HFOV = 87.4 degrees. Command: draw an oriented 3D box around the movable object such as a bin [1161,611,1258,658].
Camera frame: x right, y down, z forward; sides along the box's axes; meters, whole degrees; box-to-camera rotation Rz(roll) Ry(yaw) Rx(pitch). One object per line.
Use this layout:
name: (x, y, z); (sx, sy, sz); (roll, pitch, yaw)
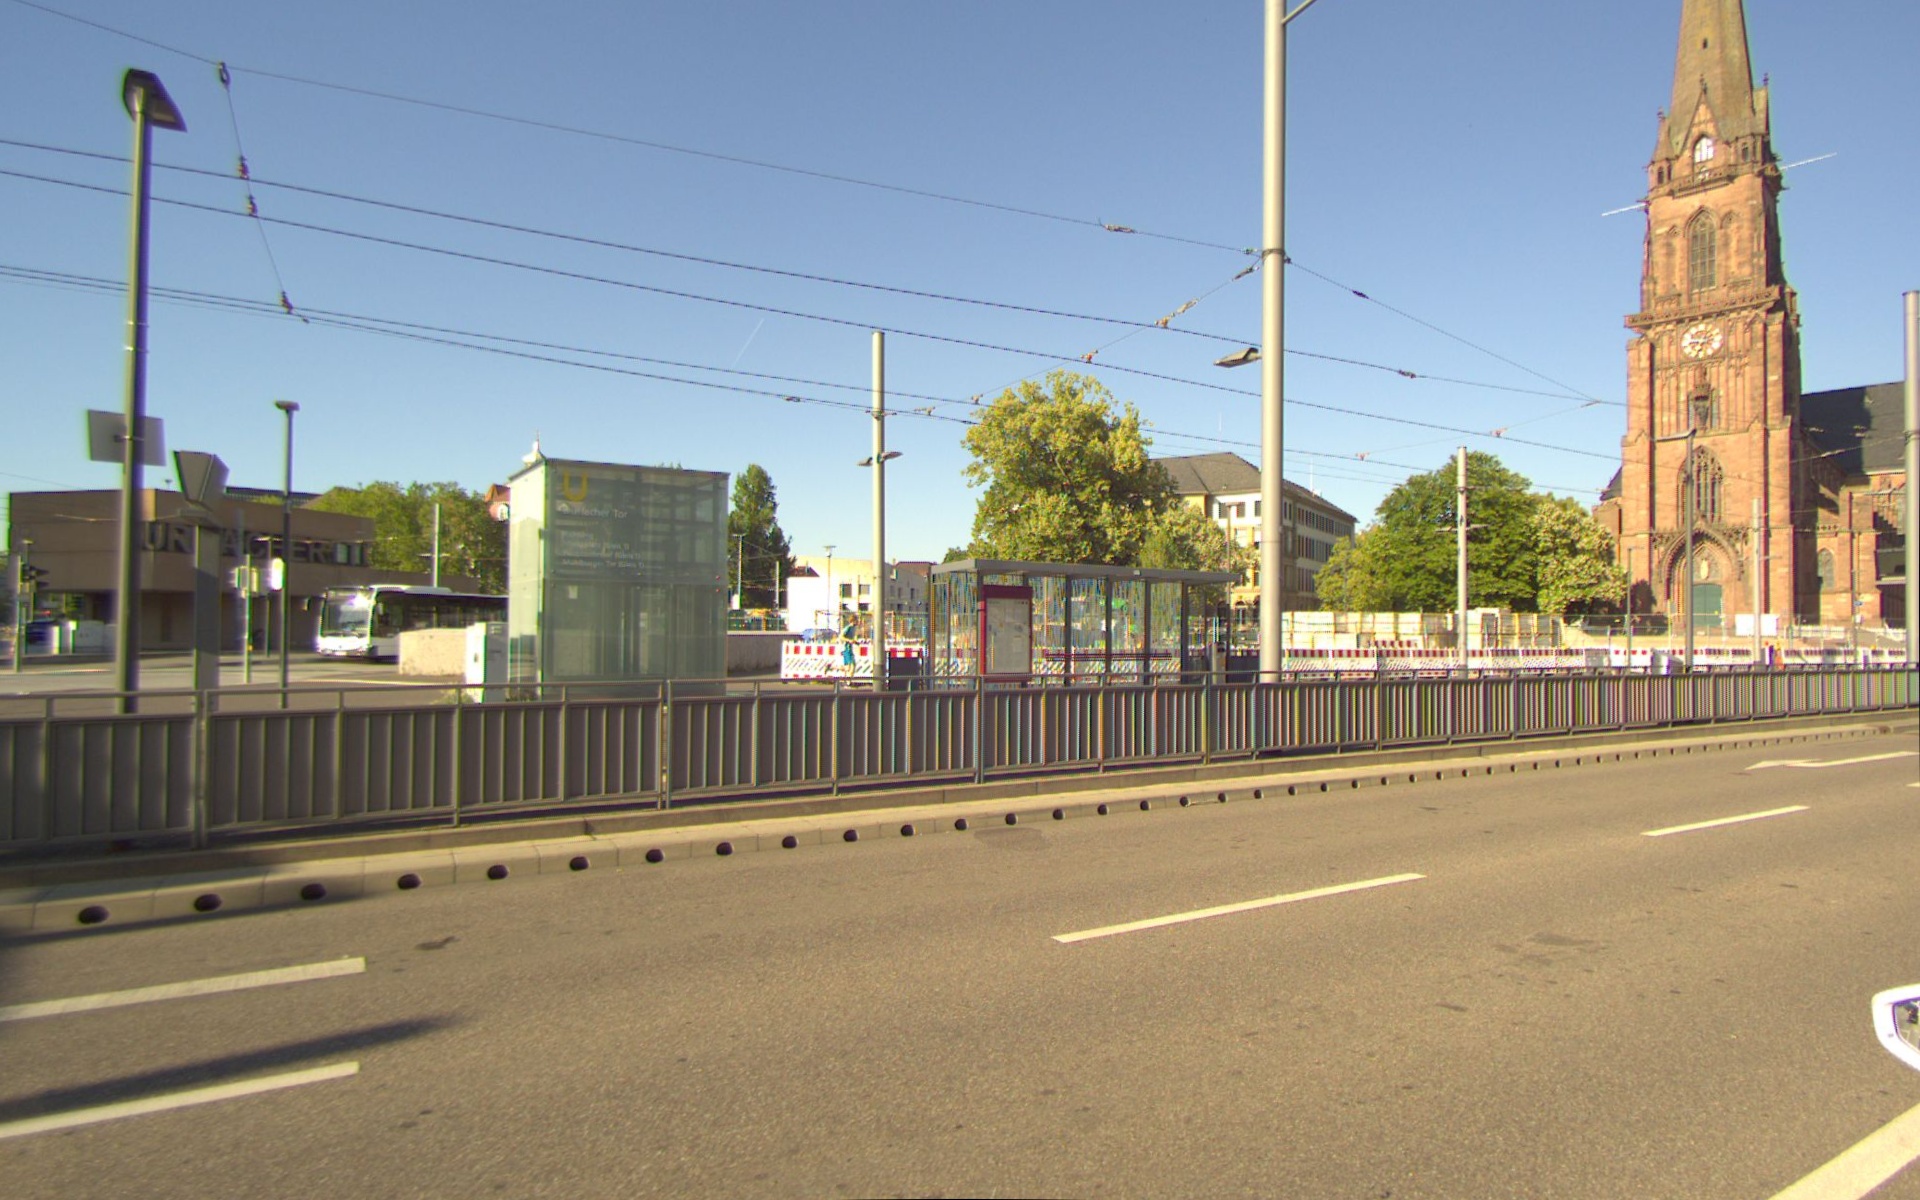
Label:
movable object such as a bin: (9.391, 1.275, 37.723); (3.821, 1.608, 1.167); (-2, -1, -32)

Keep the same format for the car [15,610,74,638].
car: (-60.255, 1.603, 66.200); (1.843, 1.651, 4.007); (6, -4, -29)

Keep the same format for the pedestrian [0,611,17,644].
pedestrian: (-53.207, 1.543, 55.953); (0.796, 1.792, 0.964); (-2, -1, -34)

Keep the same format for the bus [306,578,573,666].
bus: (-22.094, 0.909, 44.134); (2.784, 3.236, 12.668); (-2, -1, 13)

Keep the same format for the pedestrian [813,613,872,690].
pedestrian: (-2.893, 1.246, 24.651); (1.166, 1.792, 0.798); (-2, -1, -31)

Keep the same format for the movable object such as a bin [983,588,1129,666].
movable object such as a bin: (3.495, 0.935, 35.864); (2.597, 2.559, 5.142); (-3, -1, 41)

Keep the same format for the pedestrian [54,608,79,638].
pedestrian: (-47.568, 1.226, 53.508); (0.796, 1.588, 1.169); (-2, -1, -33)

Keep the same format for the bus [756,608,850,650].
bus: (-13.007, 2.352, 84.863); (3.186, 3.236, 12.668); (-2, -1, 13)
